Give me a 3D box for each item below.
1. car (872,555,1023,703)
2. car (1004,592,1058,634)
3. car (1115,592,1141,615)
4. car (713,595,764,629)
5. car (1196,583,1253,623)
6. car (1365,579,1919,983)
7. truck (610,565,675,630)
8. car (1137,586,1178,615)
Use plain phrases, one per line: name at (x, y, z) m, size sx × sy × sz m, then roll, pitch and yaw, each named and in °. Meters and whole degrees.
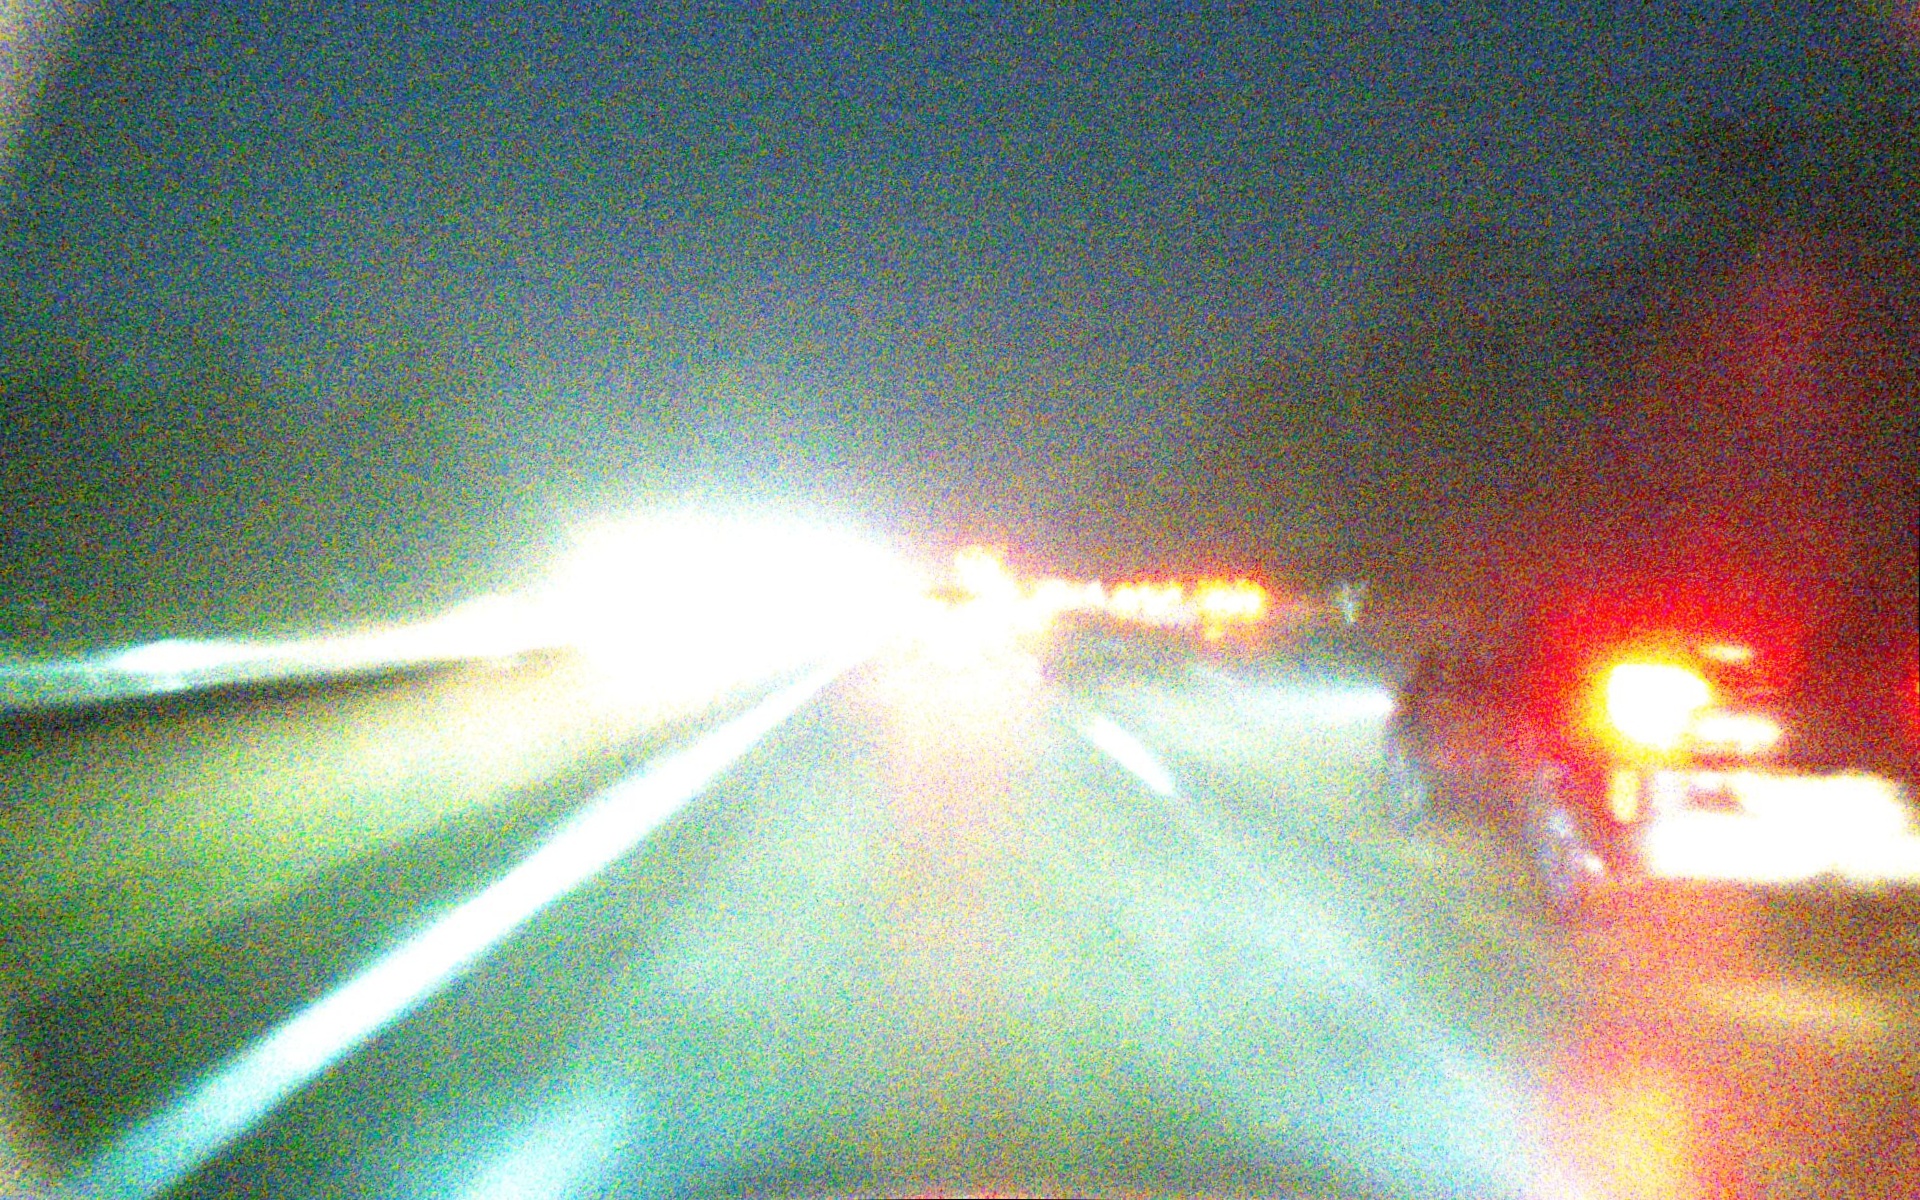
car at (-0.329, 0.481, 32.676) m, size 2.655 × 2.578 × 5.829 m, roll -2°, pitch 1°, yaw -2°
car at (2.977, 0.529, 69.655) m, size 2.093 × 1.646 × 4.000 m, roll 1°, pitch 0°, yaw 0°
car at (12.066, 0.228, 118.709) m, size 1.677 × 1.585 × 4.002 m, roll 1°, pitch 0°, yaw 3°
car at (-9.789, 0.516, 73.277) m, size 1.743 × 1.467 × 3.999 m, roll -1°, pitch 0°, yaw -1°
car at (11.368, 0.118, 71.426) m, size 1.818 × 1.646 × 4.000 m, roll 1°, pitch 0°, yaw 0°
car at (3.569, 0.719, 8.669) m, size 1.846 × 1.616 × 3.999 m, roll 1°, pitch 0°, yaw -1°
truck at (-18.130, -0.140, 94.742) m, size 2.587 × 3.642 × 6.174 m, roll 0°, pitch 0°, yaw -1°
car at (11.446, 0.029, 95.940) m, size 1.818 × 1.646 × 3.999 m, roll 1°, pitch 0°, yaw -1°
